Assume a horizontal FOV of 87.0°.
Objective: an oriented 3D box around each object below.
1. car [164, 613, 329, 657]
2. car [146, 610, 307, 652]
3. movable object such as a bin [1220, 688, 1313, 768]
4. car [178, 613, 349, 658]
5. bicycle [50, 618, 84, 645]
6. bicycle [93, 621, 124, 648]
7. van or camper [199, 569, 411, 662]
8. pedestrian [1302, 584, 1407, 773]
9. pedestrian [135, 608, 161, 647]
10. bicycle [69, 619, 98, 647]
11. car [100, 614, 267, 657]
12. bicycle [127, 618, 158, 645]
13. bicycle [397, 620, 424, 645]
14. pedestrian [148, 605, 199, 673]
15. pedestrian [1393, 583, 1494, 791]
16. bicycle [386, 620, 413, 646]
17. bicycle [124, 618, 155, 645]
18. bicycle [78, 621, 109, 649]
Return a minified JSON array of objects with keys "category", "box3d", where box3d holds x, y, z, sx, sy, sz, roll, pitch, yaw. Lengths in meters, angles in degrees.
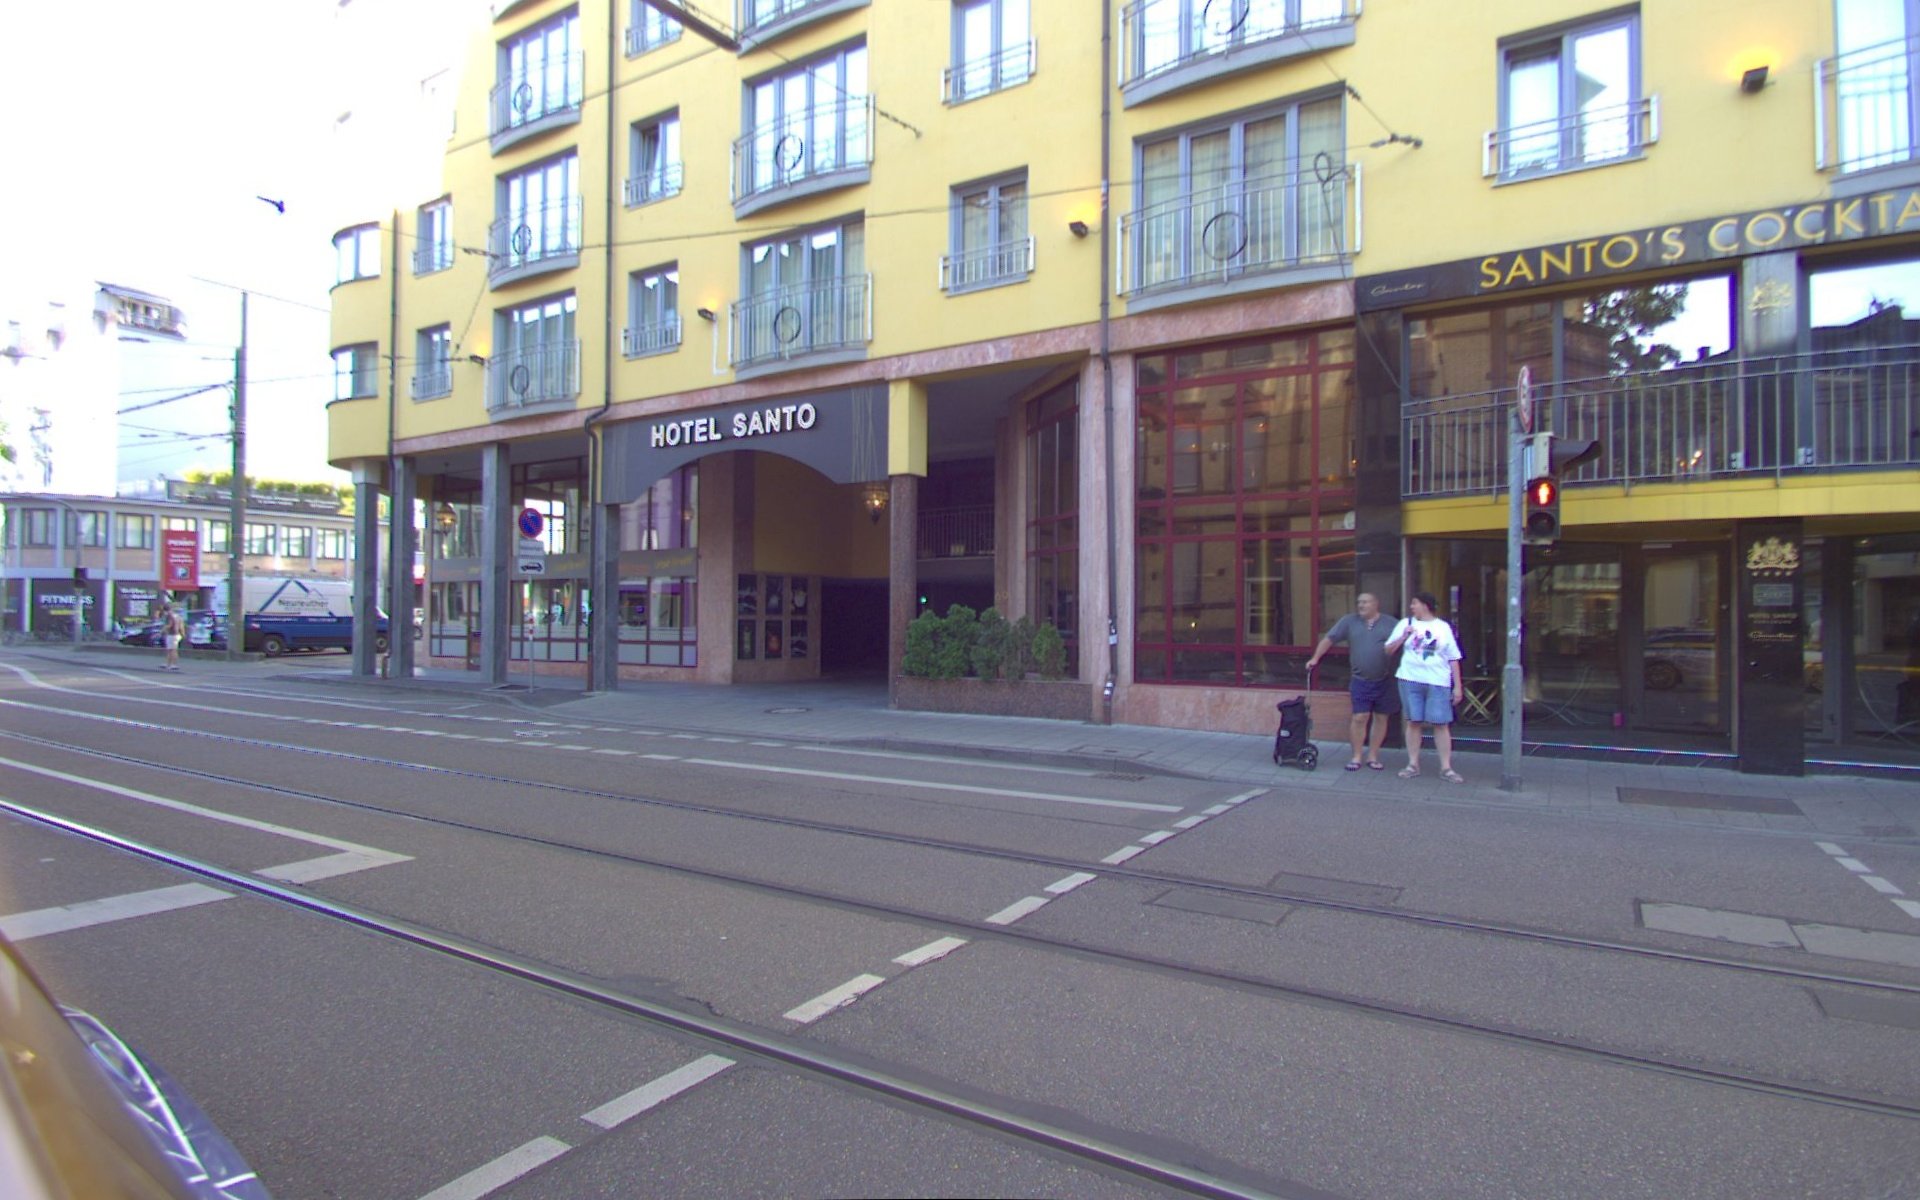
[{"category":"car","box3d":[-25.999,1.269,37.048,1.874,1.487,4.552,-1,-2,32]},{"category":"car","box3d":[-27.563,1.177,38.166,1.874,1.487,4.552,-1,-2,32]},{"category":"movable object such as a bin","box3d":[3.165,1.307,10.459,0.839,0.721,0.380,-1,2,34]},{"category":"car","box3d":[-24.216,1.235,35.367,1.874,1.487,4.552,-1,-2,32]},{"category":"bicycle","box3d":[-39.082,1.378,44.304,1.822,1.196,0.443,-1,-2,27]},{"category":"bicycle","box3d":[-38.214,1.568,45.425,1.824,1.196,0.440,-1,-2,30]},{"category":"van or camper","box3d":[-21.932,0.568,34.168,2.308,2.849,5.561,-1,-2,33]},{"category":"pedestrian","box3d":[3.984,0.752,10.207,0.798,1.784,0.741,-1,2,34]},{"category":"pedestrian","box3d":[-36.363,1.241,45.316,0.681,1.710,0.676,-1,-2,30]},{"category":"bicycle","box3d":[-38.638,1.460,44.614,1.825,1.196,0.437,-1,-2,32]},{"category":"car","box3d":[-30.383,1.395,39.777,1.874,1.595,4.856,-1,-2,32]},{"category":"bicycle","box3d":[-37.300,1.446,46.153,1.824,1.196,0.445,-1,-2,30]},{"category":"bicycle","box3d":[-26.017,1.534,47.905,1.830,1.196,0.427,-2,-3,40]},{"category":"pedestrian","box3d":[-21.977,1.080,28.289,0.906,1.846,0.827,-1,-2,32]},{"category":"pedestrian","box3d":[4.685,0.788,9.775,0.751,1.832,1.035,-1,2,31]},{"category":"bicycle","box3d":[-26.317,1.532,47.499,1.830,1.196,0.427,-2,-3,40]},{"category":"bicycle","box3d":[-36.930,1.400,45.526,1.824,1.196,0.445,-1,-2,30]},{"category":"bicycle","box3d":[-38.591,1.560,45.091,1.824,1.196,0.445,-1,-2,30]}]
